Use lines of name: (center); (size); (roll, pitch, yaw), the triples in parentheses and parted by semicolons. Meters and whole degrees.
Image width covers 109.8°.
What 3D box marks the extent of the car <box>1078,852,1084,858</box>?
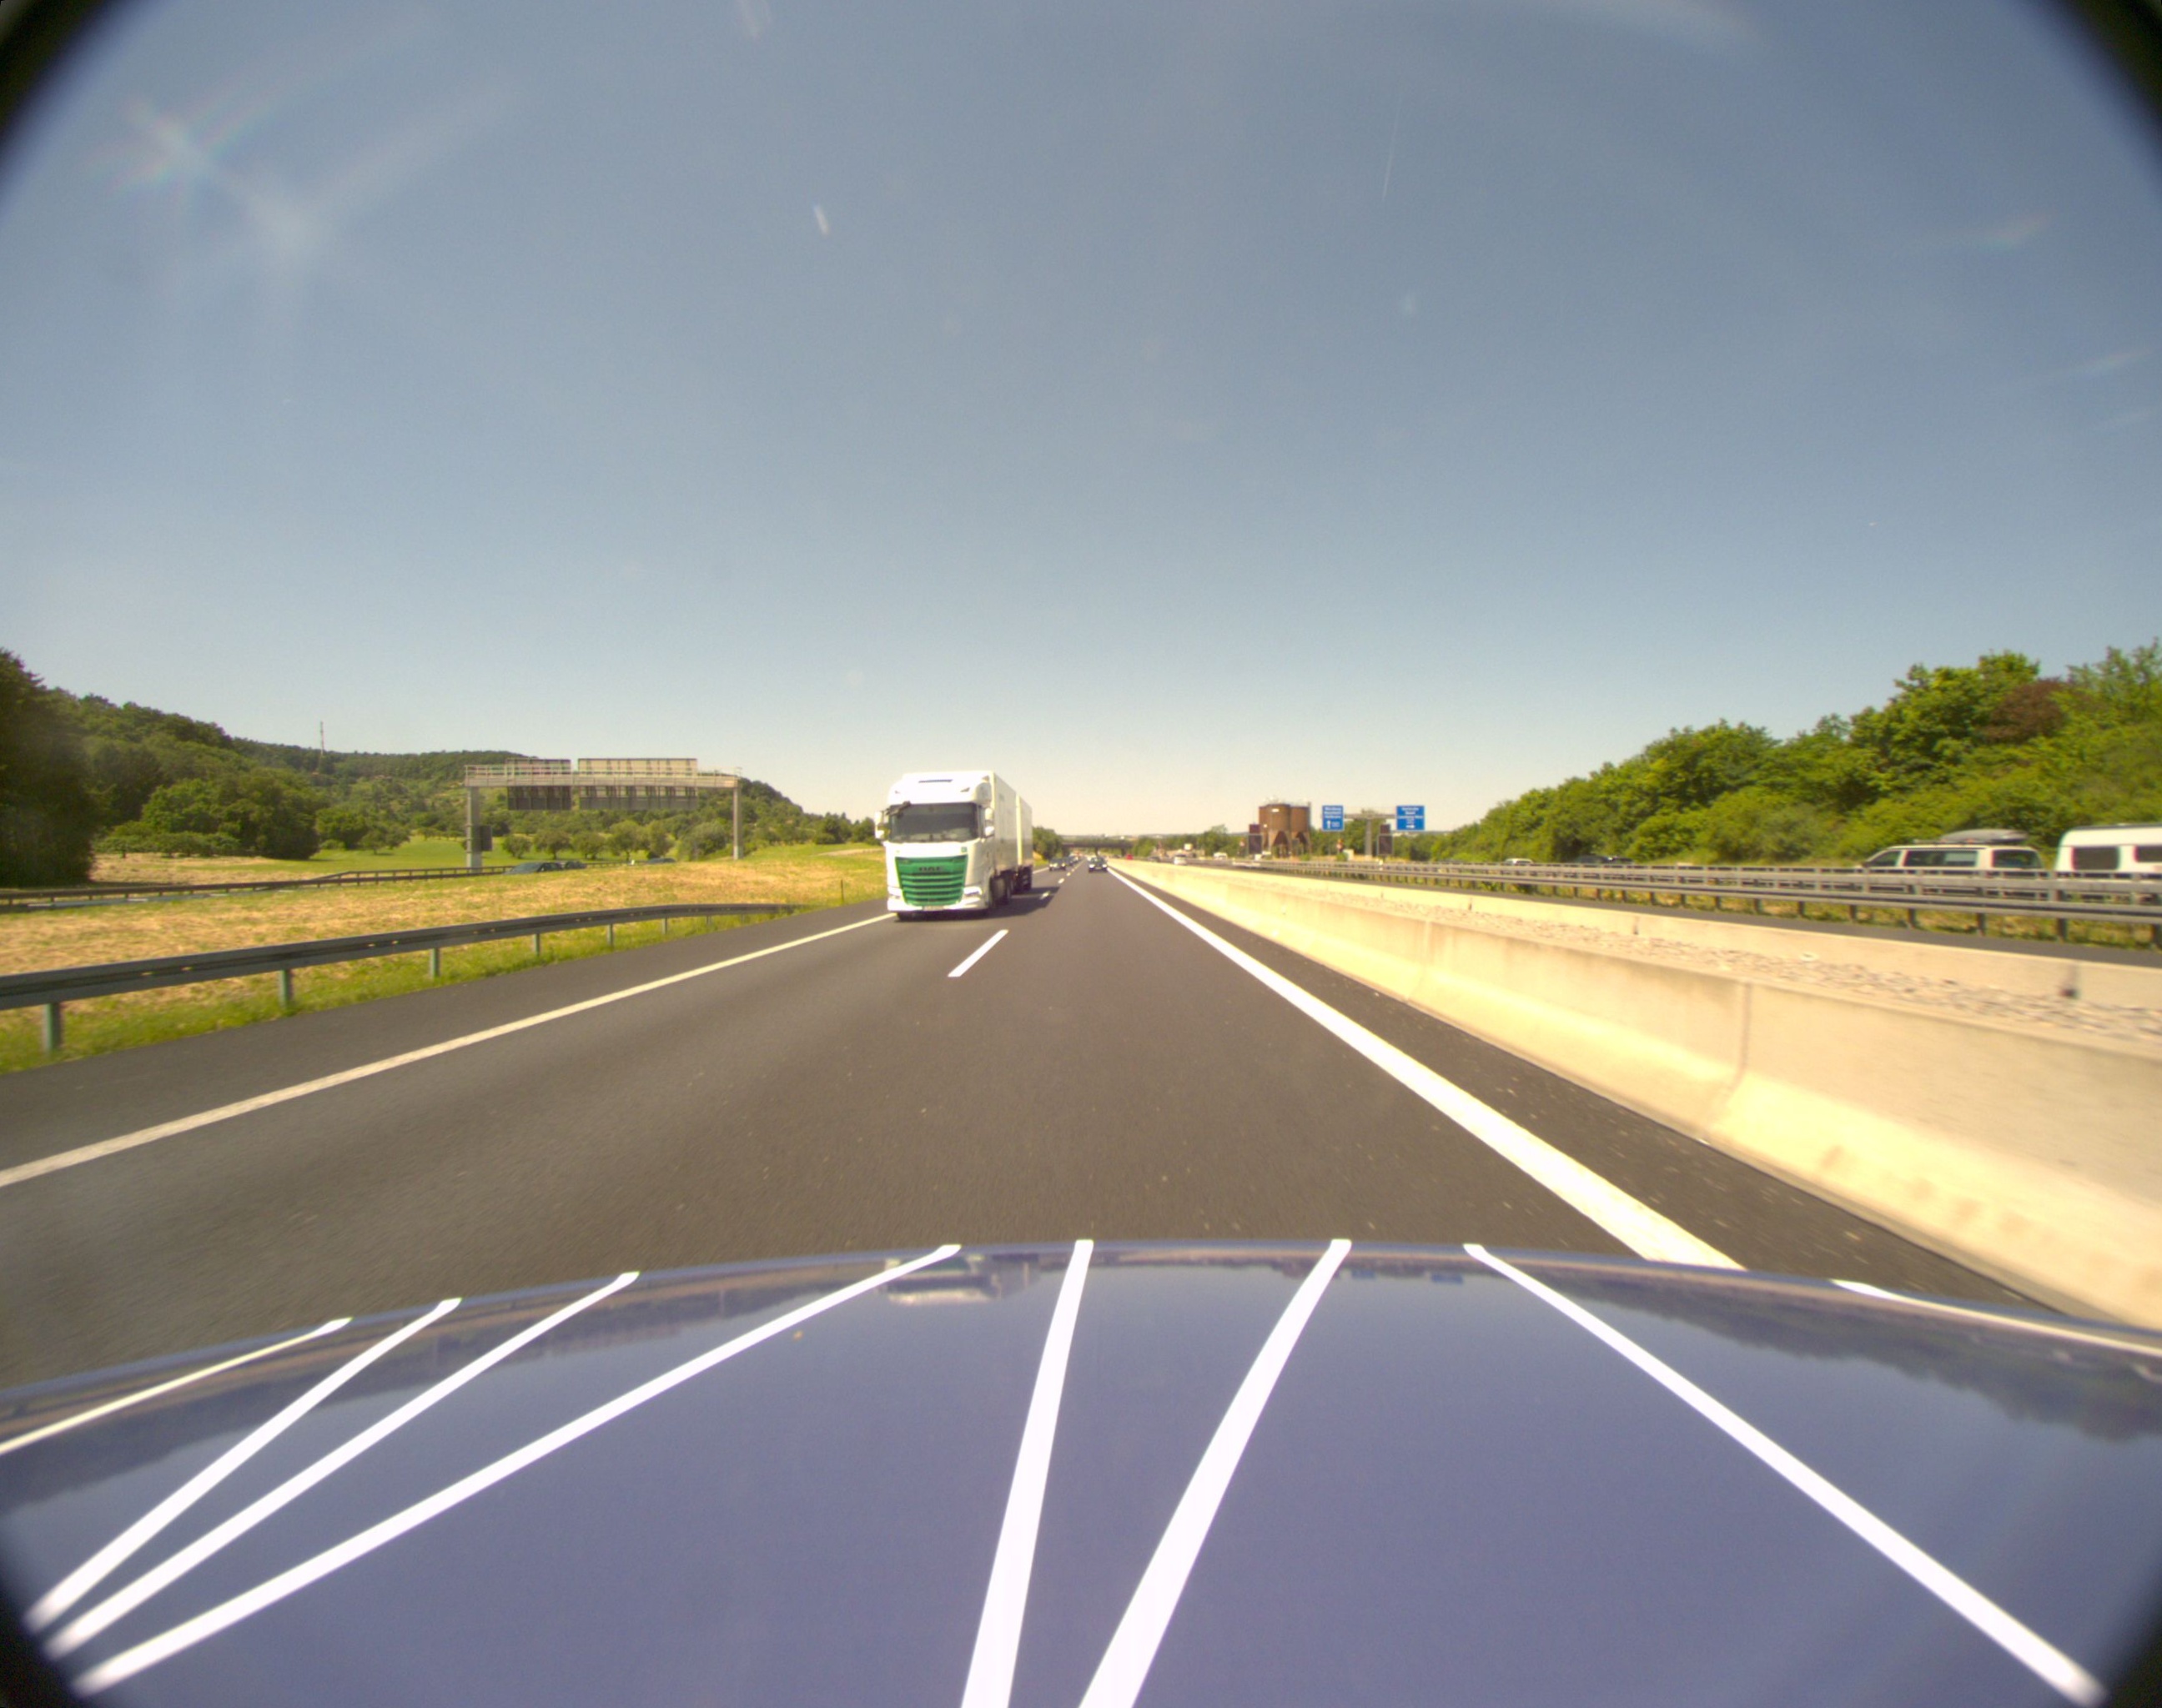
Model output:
car: (0.028, 0.479, 256.961); (1.998, 2.002, 4.000); (-1, 0, 1)

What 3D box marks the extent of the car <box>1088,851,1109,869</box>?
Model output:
car: (1.610, 0.530, 70.749); (1.799, 1.574, 3.999); (-2, 1, 0)

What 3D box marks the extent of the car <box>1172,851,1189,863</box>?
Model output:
car: (15.019, 0.448, 114.666); (1.998, 1.831, 5.085); (1, 0, 1)

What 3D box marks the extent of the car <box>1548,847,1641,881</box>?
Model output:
car: (24.579, 0.437, 36.534); (1.799, 1.501, 3.999); (-2, 1, 1)

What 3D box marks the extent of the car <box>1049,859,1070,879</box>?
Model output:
car: (-2.319, 1.644, 82.978); (1.998, 2.002, 3.999); (-2, 1, 1)

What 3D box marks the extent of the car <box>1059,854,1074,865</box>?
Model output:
car: (-2.189, 0.813, 114.886); (1.998, 1.574, 4.000); (-3, 0, 2)

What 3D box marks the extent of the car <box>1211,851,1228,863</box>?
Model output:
car: (30.184, 0.670, 165.917); (2.803, 2.487, 5.963); (1, 0, 1)

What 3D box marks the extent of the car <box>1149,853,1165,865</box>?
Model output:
car: (10.805, 0.676, 108.272); (1.799, 1.586, 4.307); (-1, 0, -1)

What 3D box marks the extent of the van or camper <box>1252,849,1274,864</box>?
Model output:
van or camper: (30.109, 0.379, 125.820); (2.112, 2.242, 6.966); (-2, 1, 1)

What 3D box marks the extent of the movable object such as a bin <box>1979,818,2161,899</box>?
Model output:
movable object such as a bin: (28.502, 0.090, 19.648); (2.513, 2.002, 6.779); (-2, 1, 0)

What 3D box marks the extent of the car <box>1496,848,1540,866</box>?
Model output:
car: (43.625, 0.265, 75.993); (1.997, 1.568, 4.994); (-2, 1, 7)

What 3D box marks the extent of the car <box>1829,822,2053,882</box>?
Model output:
car: (28.494, -0.065, 25.480); (1.999, 1.795, 4.816); (0, 0, -1)

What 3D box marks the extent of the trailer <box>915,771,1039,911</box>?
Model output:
trailer: (-3.579, -0.431, 30.590); (2.663, 4.164, 14.893); (-2, 0, 0)

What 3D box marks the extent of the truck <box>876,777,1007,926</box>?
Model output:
truck: (-3.646, -0.081, 20.961); (2.649, 3.572, 4.403); (-2, 1, 0)

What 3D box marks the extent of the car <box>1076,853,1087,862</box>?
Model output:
car: (0.074, 0.682, 153.615); (1.998, 1.574, 4.000); (-3, 0, 2)
